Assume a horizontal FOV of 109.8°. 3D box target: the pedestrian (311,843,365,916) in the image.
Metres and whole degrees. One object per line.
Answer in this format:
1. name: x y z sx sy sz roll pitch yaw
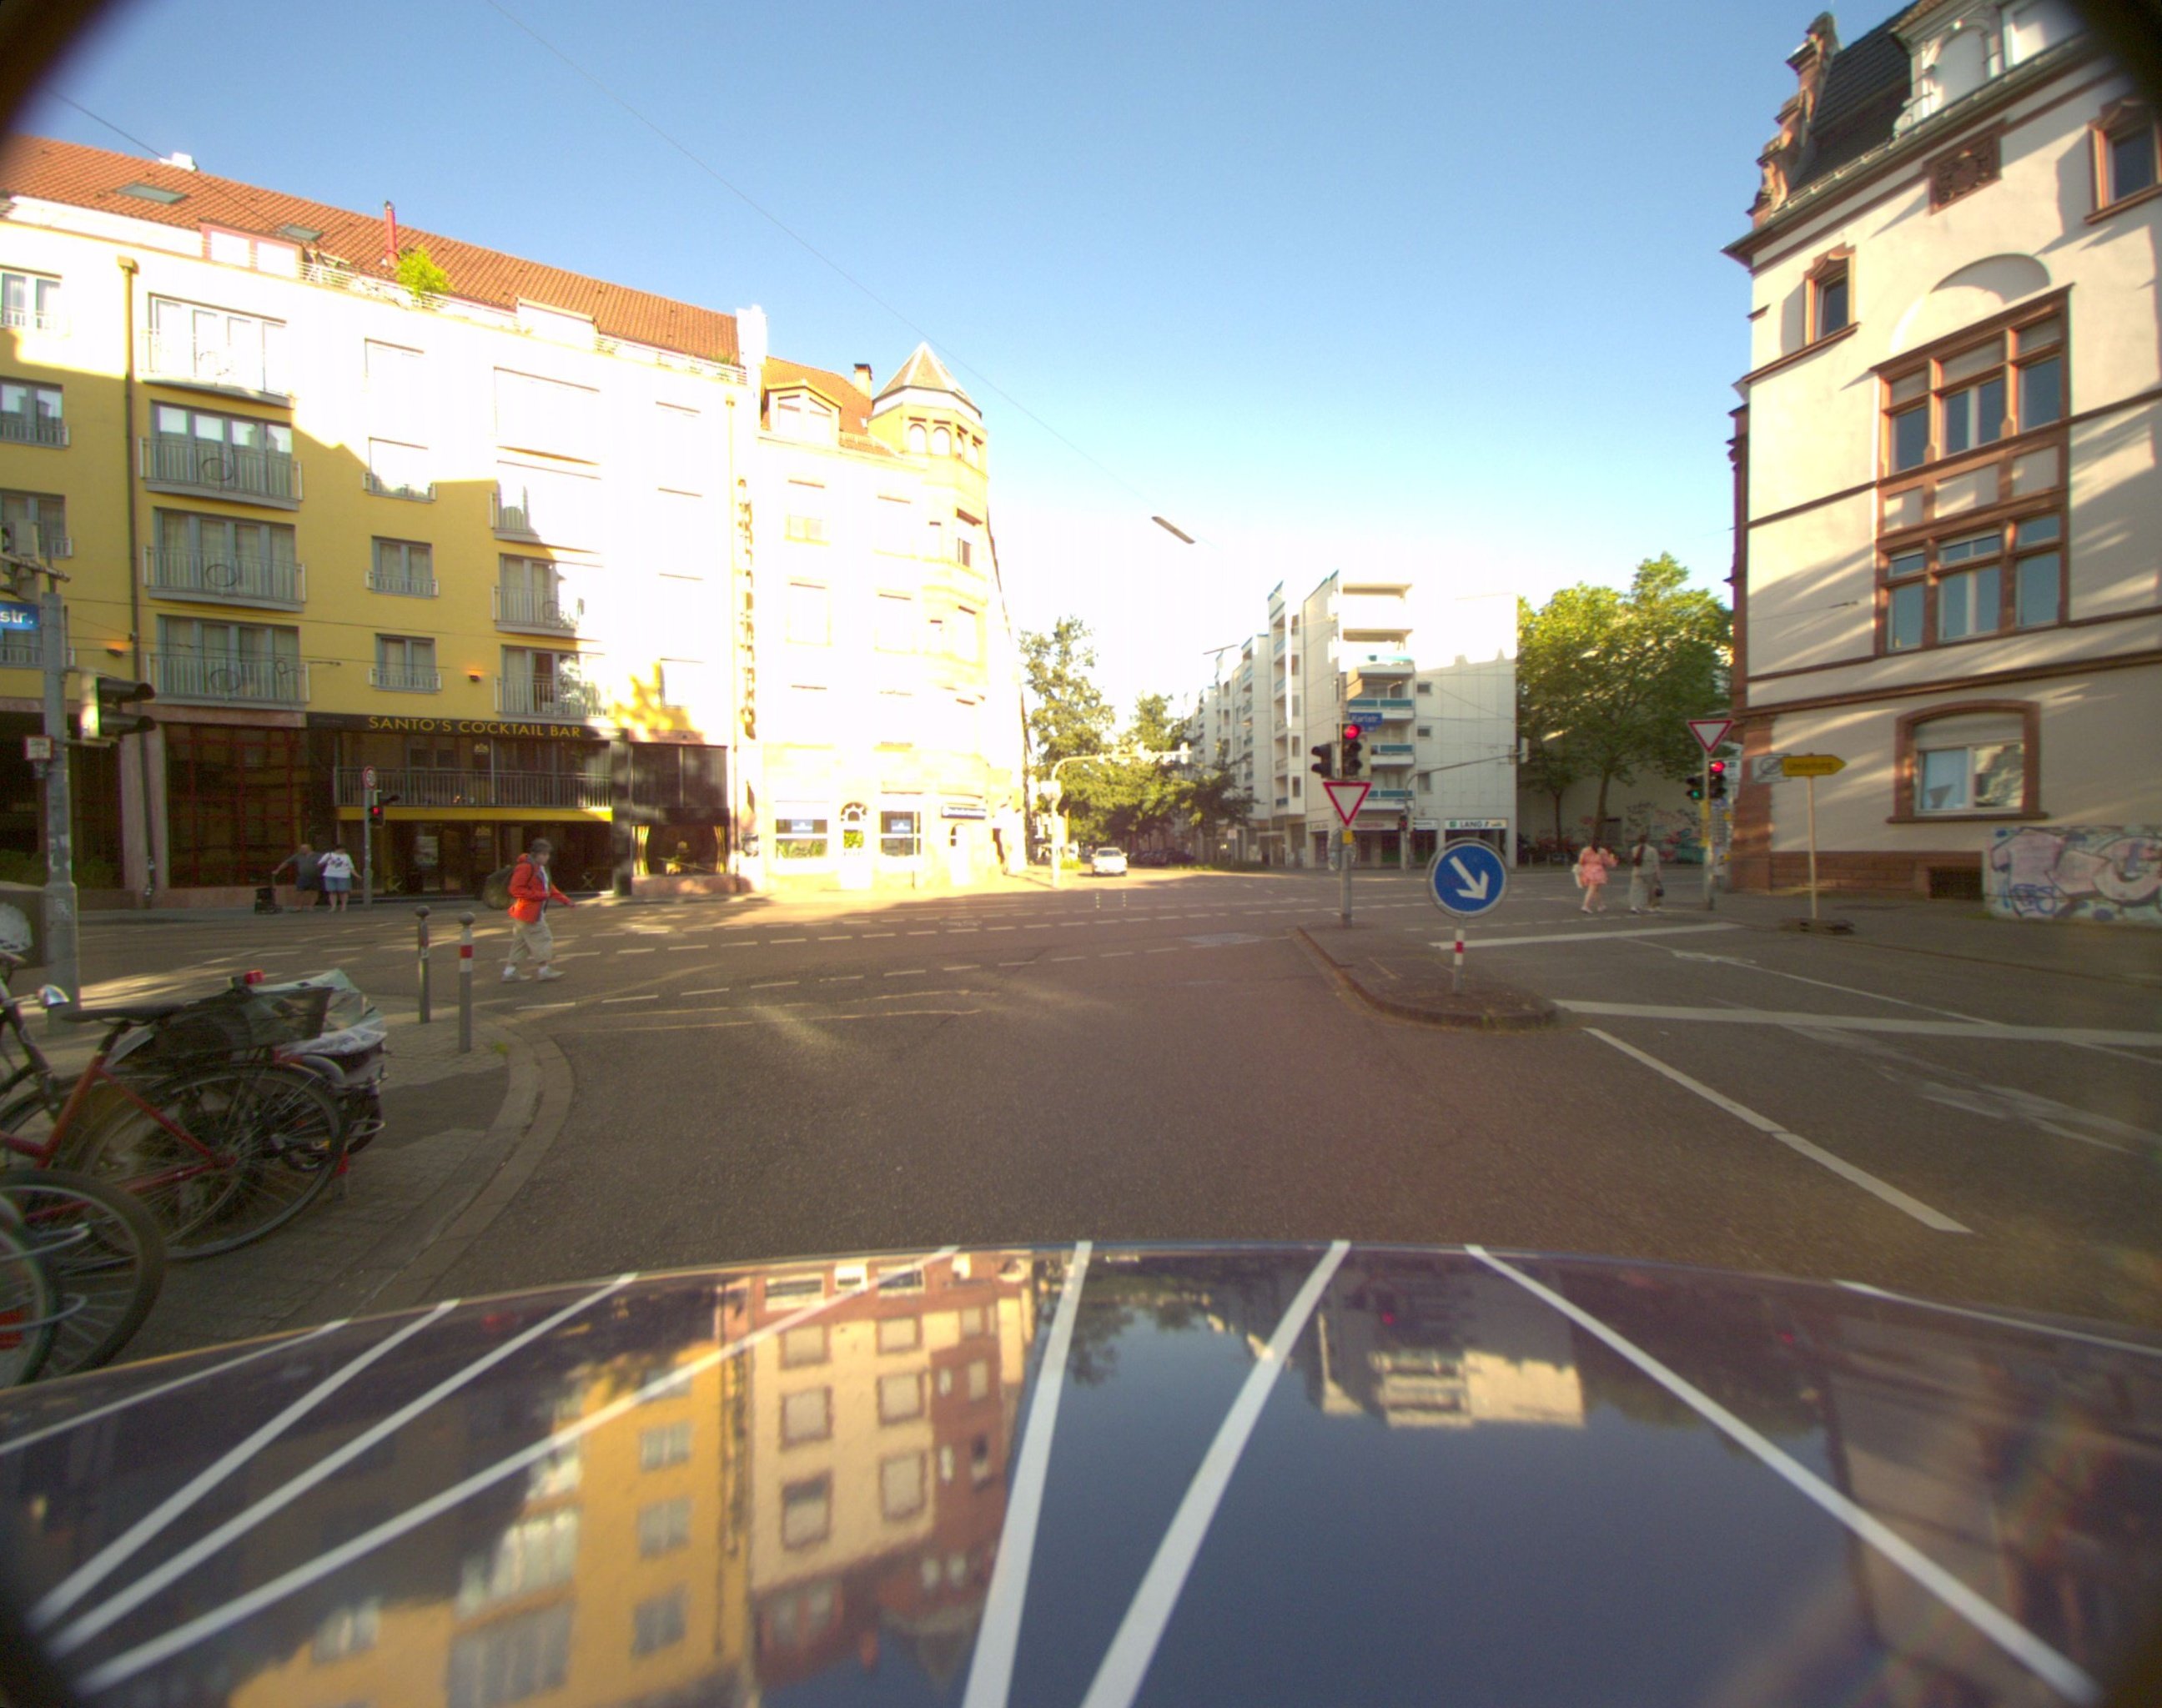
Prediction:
1. pedestrian: -19.325 0.649 19.785 0.736 1.831 0.725 -1 5 -25

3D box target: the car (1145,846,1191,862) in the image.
1. car: 8.897 -0.006 78.169 4.305 1.576 1.998 -1 1 -10

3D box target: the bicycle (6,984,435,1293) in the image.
1. bicycle: -3.707 1.178 3.390 1.000 1.021 0.737 -1 1 -12

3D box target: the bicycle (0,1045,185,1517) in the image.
1. bicycle: -3.542 1.122 1.713 1.940 1.087 0.424 1 2 -29

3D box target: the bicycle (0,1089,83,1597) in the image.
1. bicycle: -3.334 1.134 1.310 1.940 1.087 0.424 1 2 -29

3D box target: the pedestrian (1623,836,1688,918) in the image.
1. pedestrian: 12.252 0.462 16.241 0.867 1.688 0.985 0 1 21

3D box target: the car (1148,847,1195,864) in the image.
1. car: 8.968 0.118 75.582 4.305 1.576 1.998 -1 1 -10

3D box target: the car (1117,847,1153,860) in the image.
1. car: 6.889 -0.115 97.435 4.304 1.576 1.998 -1 1 -9

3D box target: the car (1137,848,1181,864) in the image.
1. car: 8.238 0.199 80.523 4.305 1.576 1.998 -1 1 -10

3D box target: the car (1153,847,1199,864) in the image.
1. car: 9.173 0.113 73.292 4.000 1.576 1.998 -1 1 -10

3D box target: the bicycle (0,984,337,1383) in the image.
1. bicycle: -3.493 1.089 2.482 0.423 1.087 1.481 4 2 40

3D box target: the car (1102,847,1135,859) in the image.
1. car: 5.285 -0.151 107.268 4.304 1.576 1.998 -1 1 -9

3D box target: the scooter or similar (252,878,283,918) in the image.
1. scooter or similar: -20.592 1.103 19.240 0.357 0.972 0.422 -1 5 -27

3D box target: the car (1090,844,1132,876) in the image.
1. car: 1.688 0.317 44.171 1.999 1.740 3.998 -1 1 -4

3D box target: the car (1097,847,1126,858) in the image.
1. car: 4.753 -0.264 119.495 4.304 1.576 1.998 -1 1 -9

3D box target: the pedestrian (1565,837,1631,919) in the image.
1. pedestrian: 11.053 0.491 16.255 0.986 1.688 0.867 -1 1 -35

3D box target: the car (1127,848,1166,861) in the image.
1. car: 7.933 0.041 92.336 4.304 1.576 1.998 -1 1 -9

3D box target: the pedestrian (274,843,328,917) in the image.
1. pedestrian: -20.220 0.656 19.716 0.680 1.831 0.725 -1 5 -25

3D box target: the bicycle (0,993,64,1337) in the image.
1. bicycle: -4.345 1.102 2.292 0.572 1.087 1.481 4 2 42

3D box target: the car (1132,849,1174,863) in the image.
1. car: 8.192 0.230 86.620 4.304 1.576 1.998 -1 1 -9

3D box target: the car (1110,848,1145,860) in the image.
1. car: 6.126 0.007 101.059 4.304 1.576 1.998 -1 1 -9

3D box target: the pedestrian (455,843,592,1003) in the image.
1. pedestrian: -6.367 0.713 8.688 1.176 1.670 1.005 -1 1 -38

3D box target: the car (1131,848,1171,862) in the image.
1. car: 8.259 0.118 89.948 4.304 1.576 1.998 -1 1 -9

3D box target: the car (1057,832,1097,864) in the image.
1. car: -0.525 -0.658 79.897 3.326 3.160 8.076 -1 1 -7
